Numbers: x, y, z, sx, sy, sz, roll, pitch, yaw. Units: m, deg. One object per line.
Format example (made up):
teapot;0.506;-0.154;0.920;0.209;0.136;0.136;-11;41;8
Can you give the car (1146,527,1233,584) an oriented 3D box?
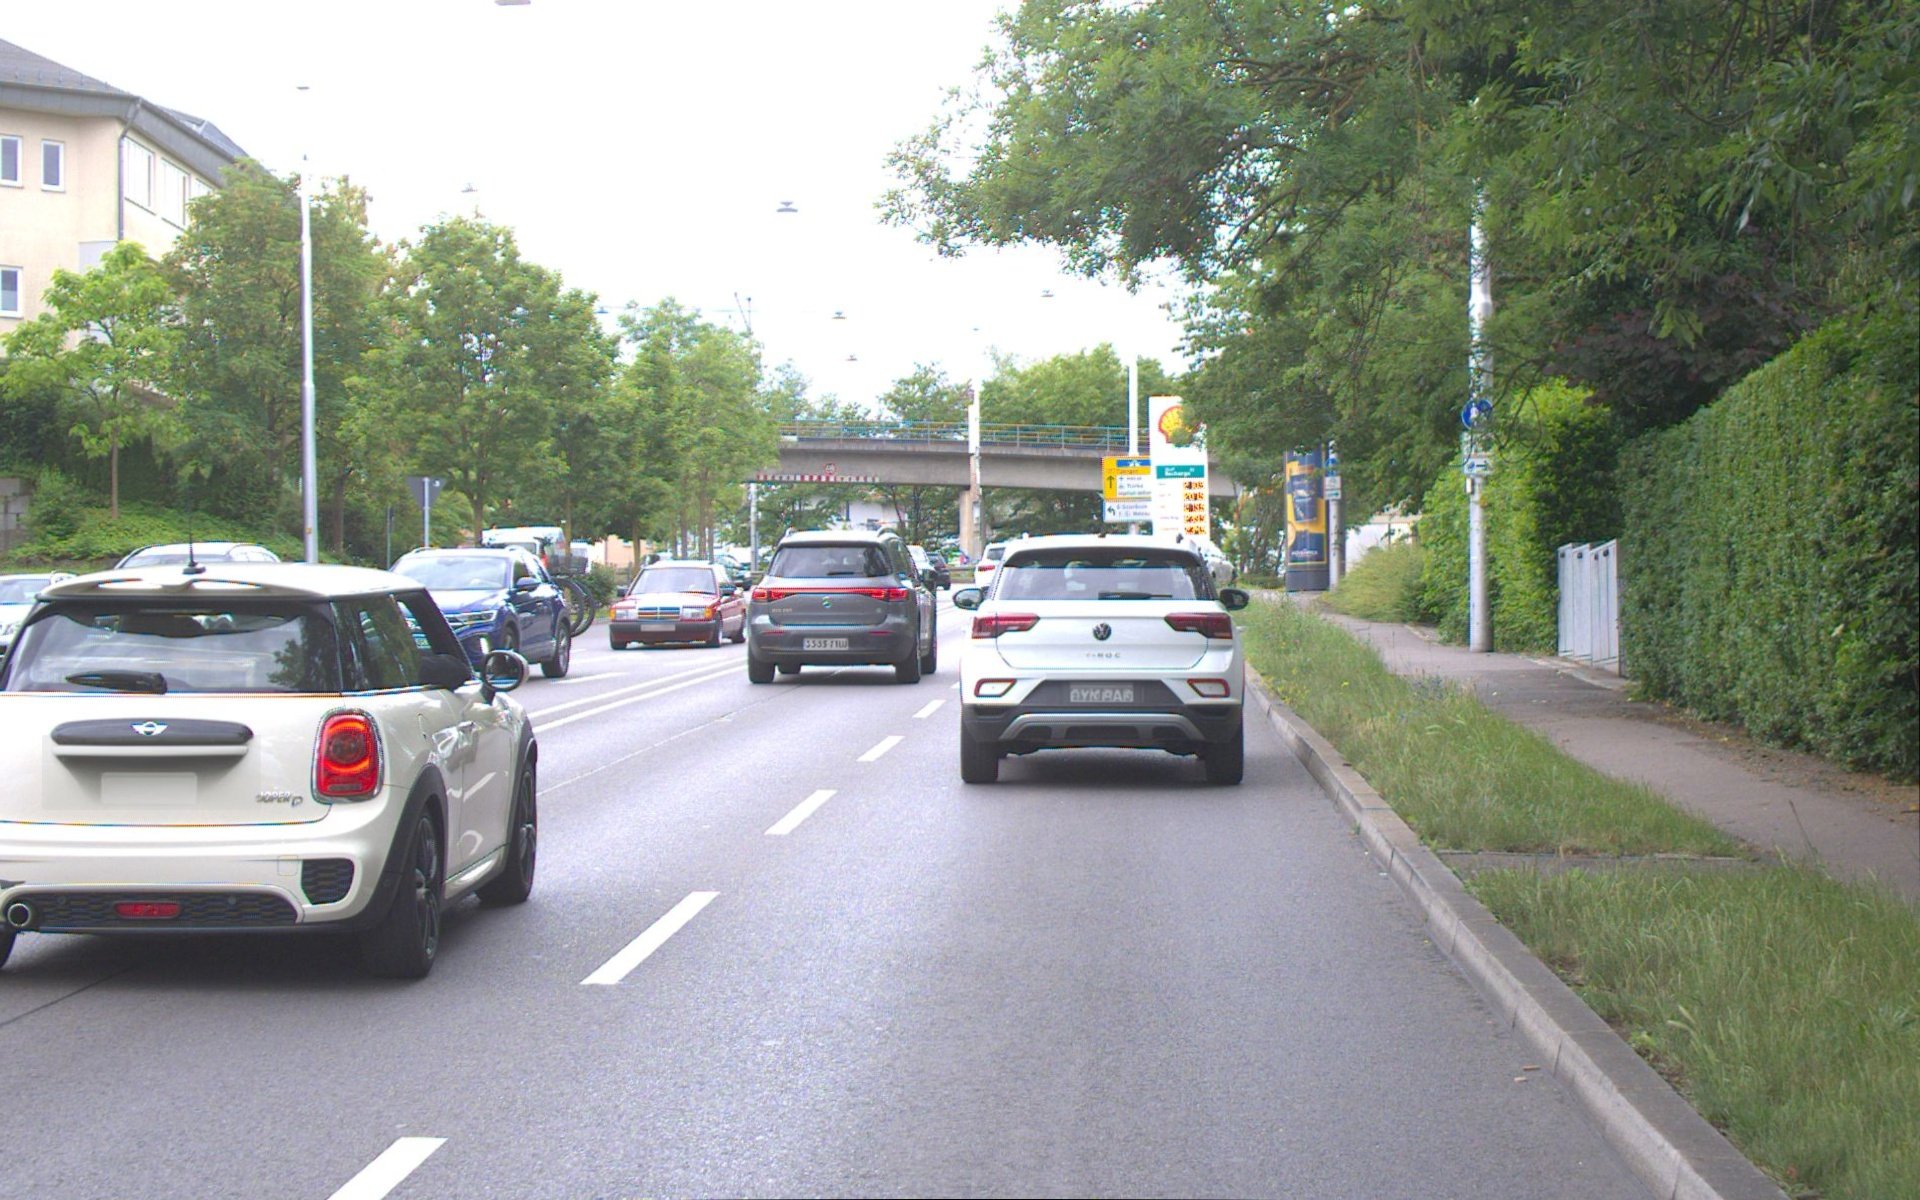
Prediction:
car;6.284;-1.225;93.729;1.859;1.495;4.054;0;1;11

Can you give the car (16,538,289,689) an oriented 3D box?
car;-9.146;0.115;39.270;1.771;1.628;4.142;0;1;6

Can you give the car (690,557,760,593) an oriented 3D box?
car;-10.207;-1.113;148.960;1.895;1.536;4.694;0;1;-19

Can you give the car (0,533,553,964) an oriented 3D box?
car;-2.620;0.460;12.938;1.628;1.388;3.566;-1;1;2

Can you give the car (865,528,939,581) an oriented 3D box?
car;-1.764;-1.353;102.746;1.895;1.536;4.694;0;1;-5

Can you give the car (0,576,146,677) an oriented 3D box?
car;-13.427;0.360;50.382;1.771;1.402;4.142;0;1;4

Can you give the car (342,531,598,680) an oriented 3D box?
car;-5.503;0.023;39.263;1.771;1.591;5.183;0;1;5

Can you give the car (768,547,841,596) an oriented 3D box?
car;-5.027;-0.933;110.624;1.895;1.536;4.694;0;1;-8

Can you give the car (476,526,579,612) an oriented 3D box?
car;-11.799;-0.863;94.090;2.068;2.298;5.465;0;1;1

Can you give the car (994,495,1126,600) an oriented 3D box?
car;1.553;-0.802;54.989;1.873;1.496;4.555;3;0;0

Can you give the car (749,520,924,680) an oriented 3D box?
car;-1.323;-0.032;38.225;1.812;1.646;4.636;-1;1;-1

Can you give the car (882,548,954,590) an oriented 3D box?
car;-1.609;-1.172;129.704;1.895;1.536;4.694;0;1;-11

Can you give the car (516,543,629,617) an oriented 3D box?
car;-8.911;-0.475;79.386;2.068;1.651;4.693;0;1;0

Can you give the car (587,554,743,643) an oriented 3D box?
car;-4.616;-0.058;54.476;1.741;1.348;4.845;0;1;4

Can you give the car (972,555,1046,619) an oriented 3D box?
car;1.290;-0.369;92.534;1.858;1.646;4.636;-1;1;-1

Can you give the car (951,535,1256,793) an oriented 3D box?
car;0.858;0.358;22.500;1.811;1.534;3.690;-1;1;0

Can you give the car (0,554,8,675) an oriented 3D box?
car;-13.921;0.215;44.698;1.771;1.628;3.915;0;1;4
